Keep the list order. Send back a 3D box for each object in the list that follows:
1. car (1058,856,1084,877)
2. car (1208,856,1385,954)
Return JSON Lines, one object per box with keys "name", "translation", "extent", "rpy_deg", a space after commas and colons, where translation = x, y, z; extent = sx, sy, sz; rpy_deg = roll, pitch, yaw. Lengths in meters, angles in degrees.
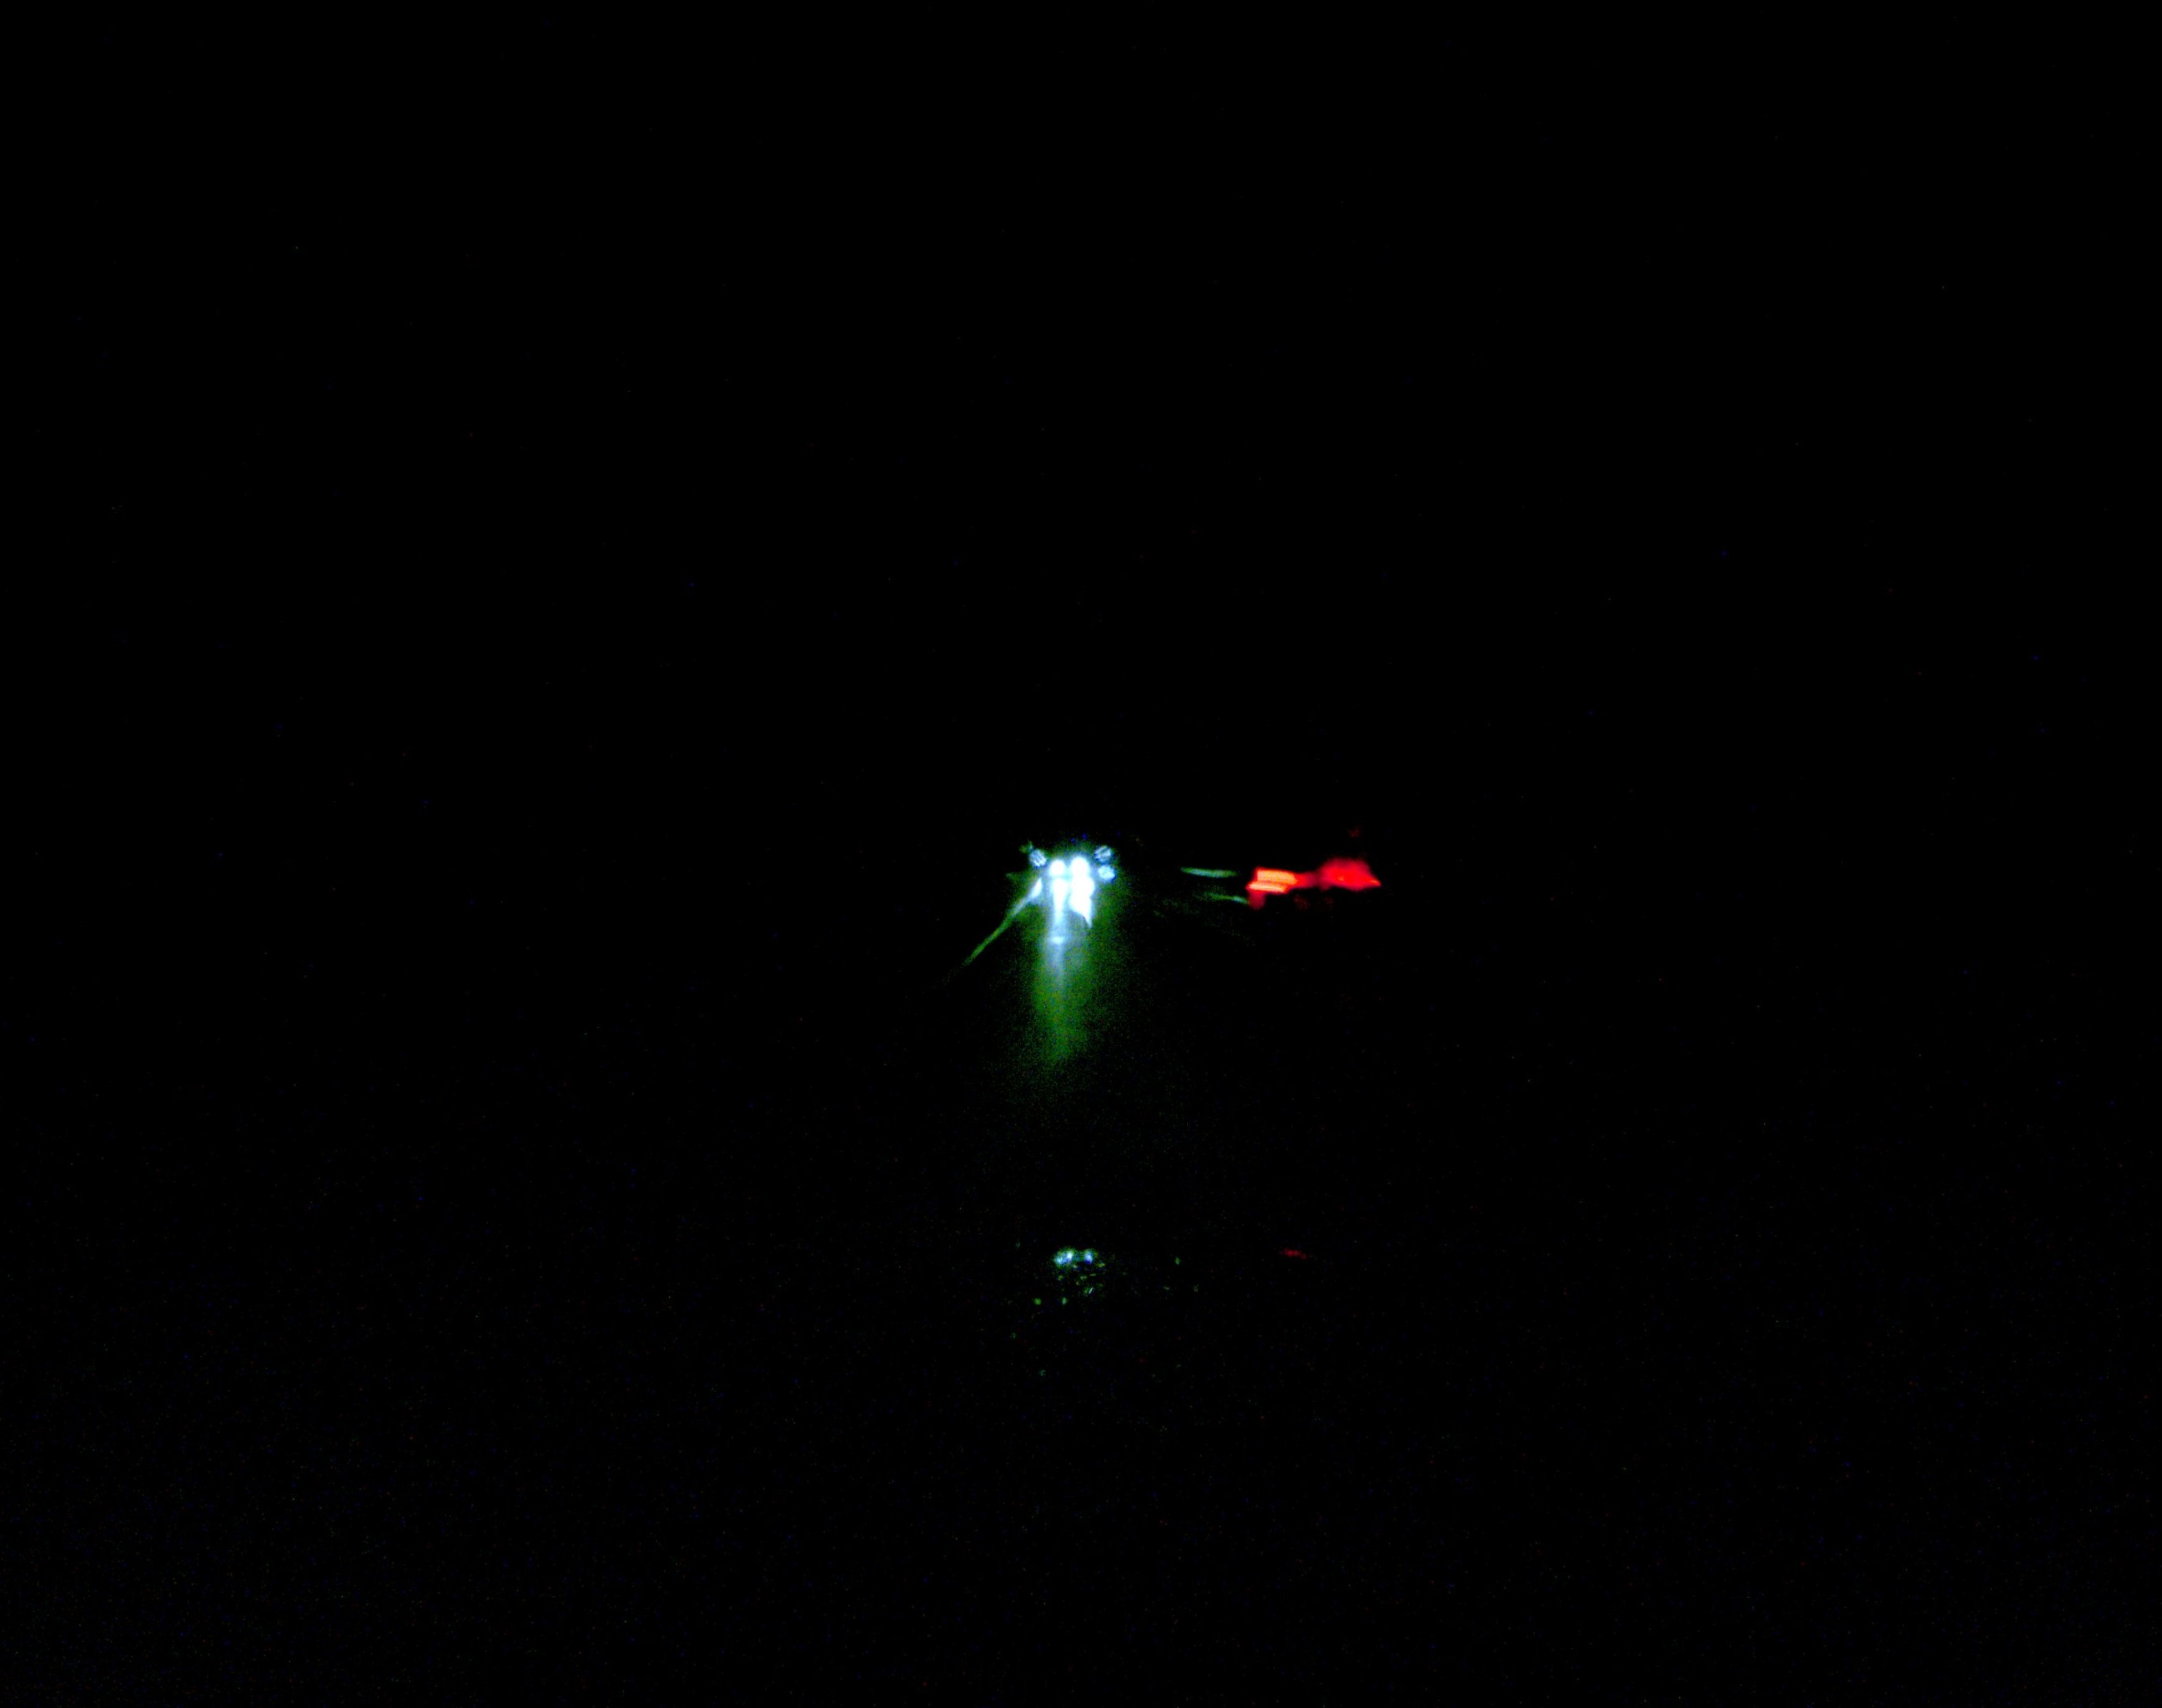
{"name": "car", "translation": [-0.776, 0.889, 56.659], "extent": [1.776, 1.444, 4.134], "rpy_deg": [-3, 0, -3]}
{"name": "car", "translation": [3.525, 0.762, 13.228], "extent": [1.998, 1.382, 3.846], "rpy_deg": [-2, 0, 1]}
